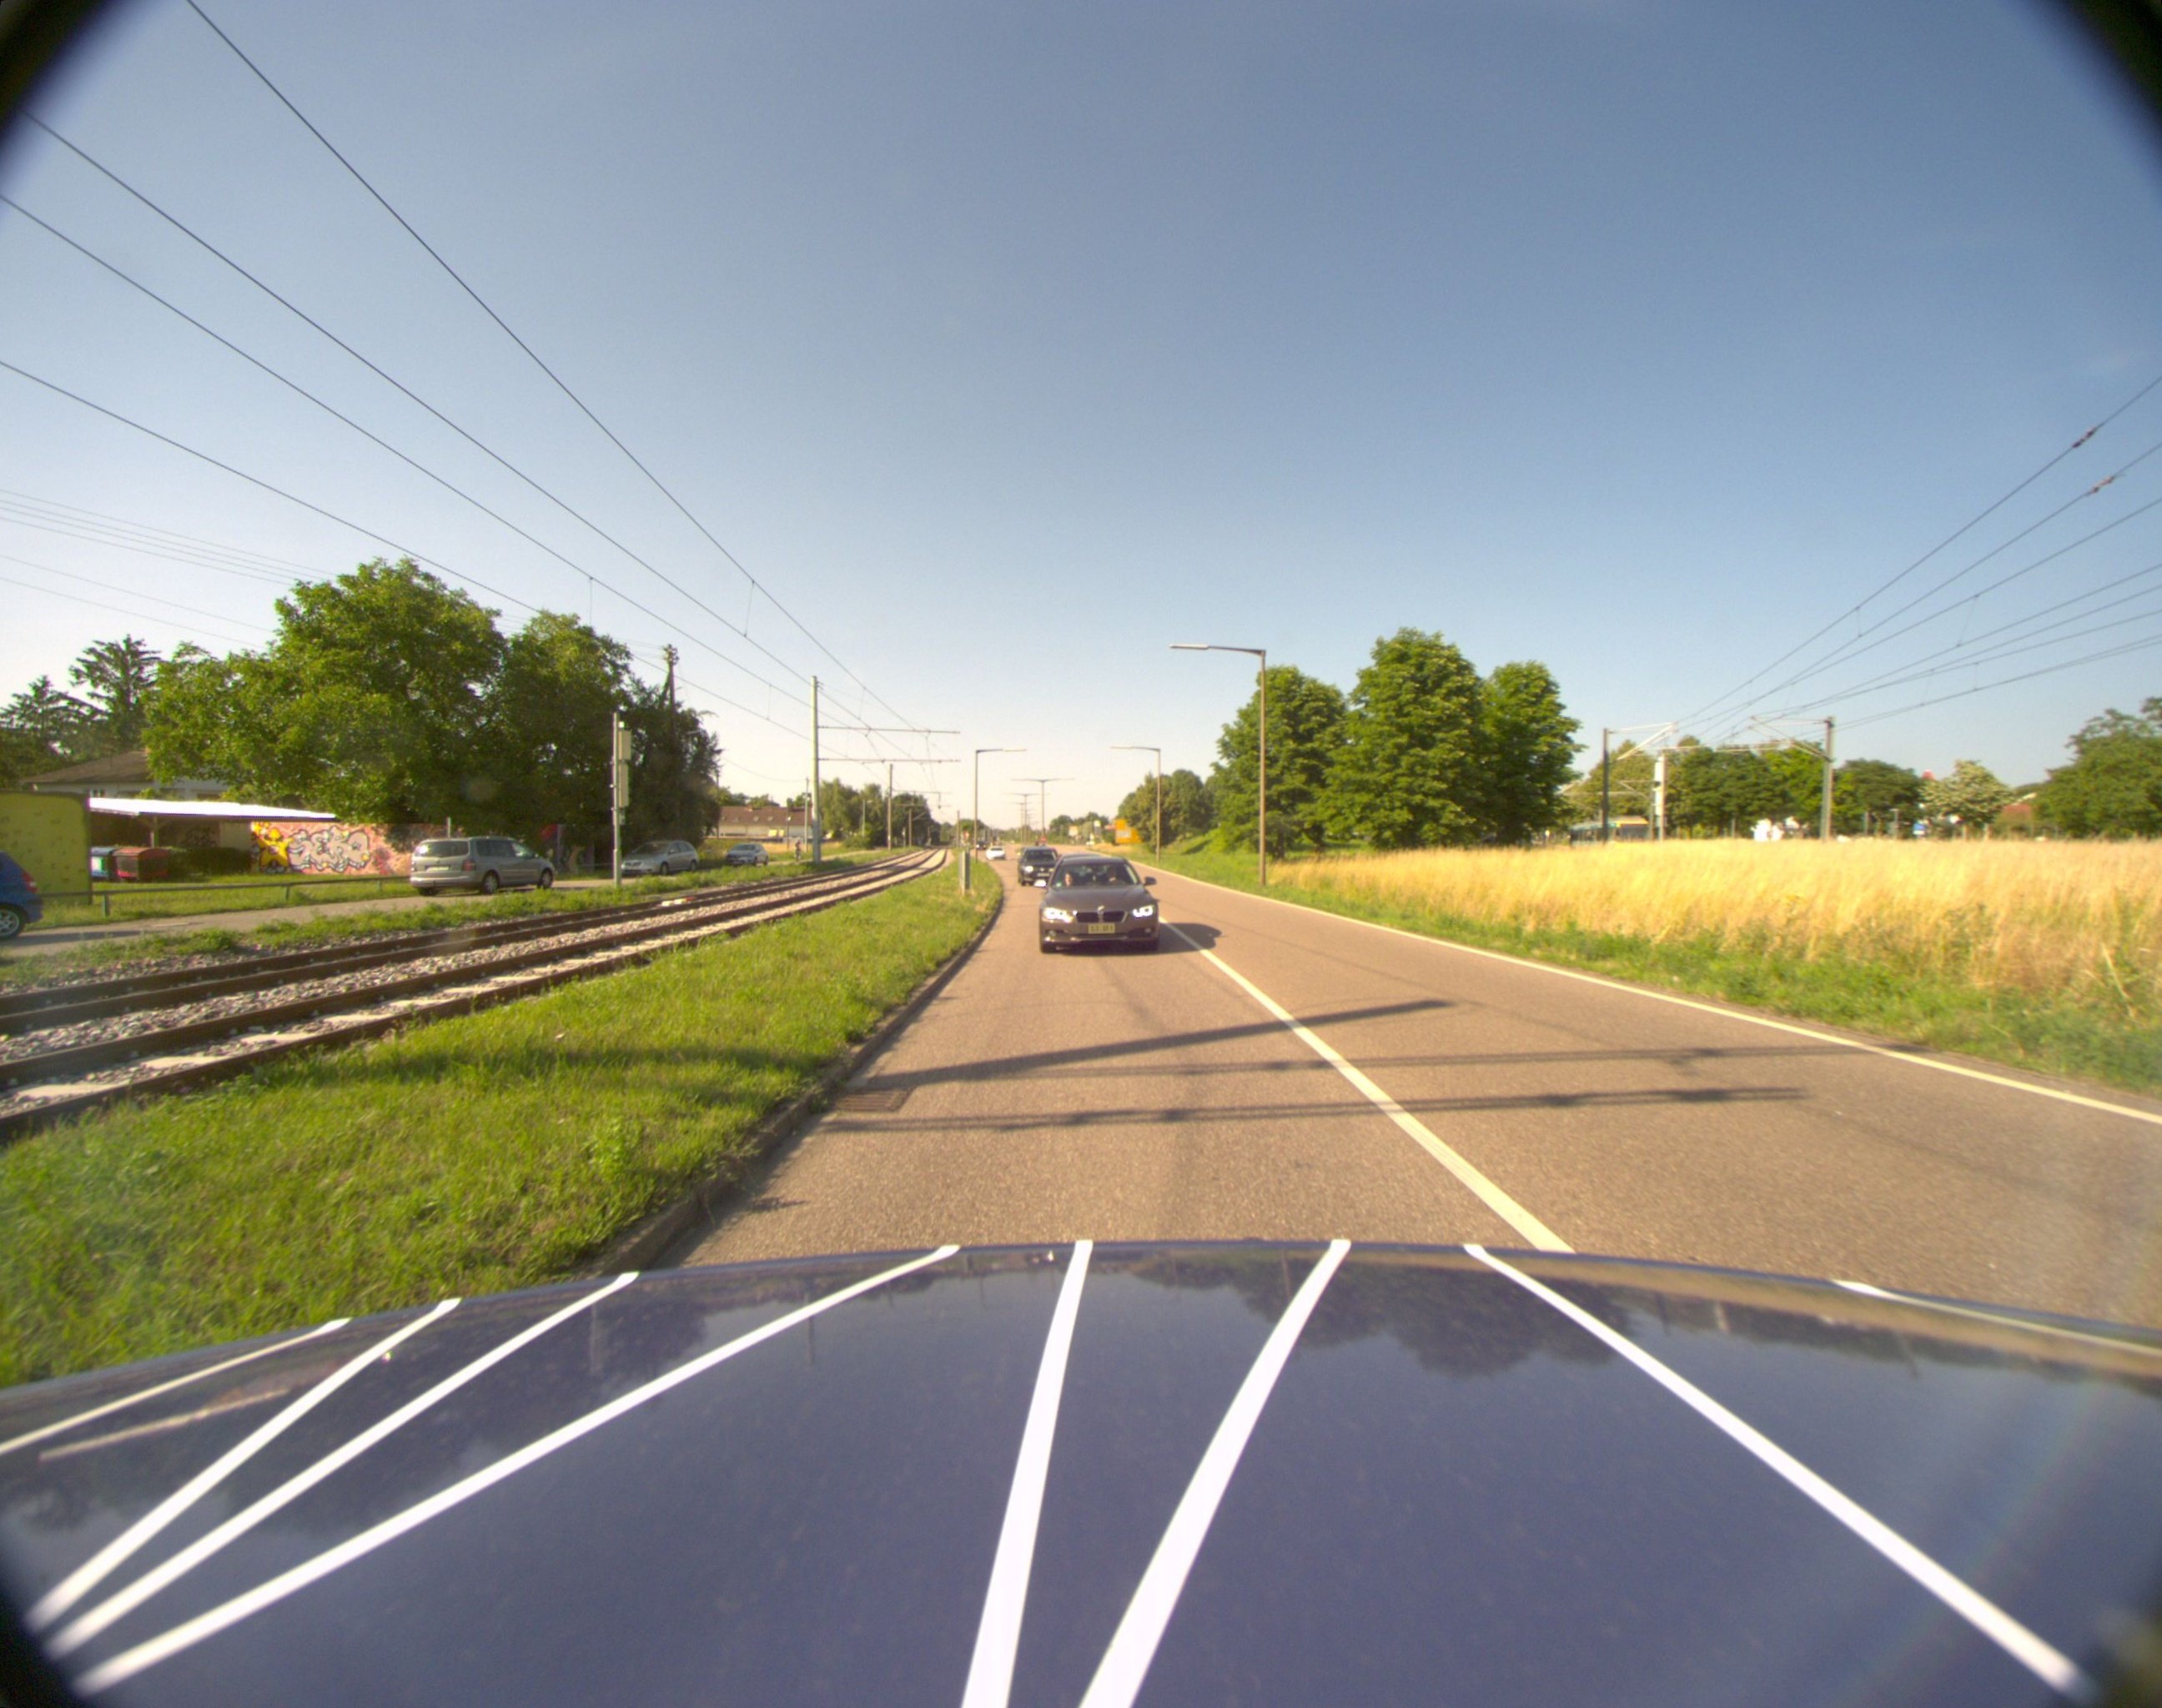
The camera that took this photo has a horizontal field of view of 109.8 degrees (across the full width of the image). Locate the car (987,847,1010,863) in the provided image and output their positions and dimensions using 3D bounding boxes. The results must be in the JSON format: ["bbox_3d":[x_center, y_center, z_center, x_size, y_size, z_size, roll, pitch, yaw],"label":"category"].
[{"bbox_3d":[-8.647,0.090,79.704,1.970,1.609,4.302,-2,1,-12],"label":"car"}]

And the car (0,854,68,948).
[{"bbox_3d":[-17.445,0.770,10.440,1.682,1.422,3.911,-2,1,2],"label":"car"}]

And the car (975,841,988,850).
[{"bbox_3d":[-16.733,-1.444,127.836,1.838,1.504,4.149,-2,1,-10],"label":"car"}]

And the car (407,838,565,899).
[{"bbox_3d":[-17.313,0.352,22.418,1.527,1.601,4.480,0,1,-7],"label":"car"}]

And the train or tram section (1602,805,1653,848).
[{"bbox_3d":[50.505,-2.734,70.504,2.908,3.549,14.282,0,3,32],"label":"train or tram section"}]

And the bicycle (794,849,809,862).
[{"bbox_3d":[-20.830,0.100,56.652,0.645,0.904,1.812,-1,1,-6],"label":"bicycle"}]

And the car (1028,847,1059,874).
[{"bbox_3d":[-2.323,0.334,45.971,1.608,1.504,4.265,-2,1,-6],"label":"car"}]

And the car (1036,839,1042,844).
[{"bbox_3d":[-13.676,-4.139,249.067,1.564,1.369,3.381,-3,3,-11],"label":"car"}]

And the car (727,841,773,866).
[{"bbox_3d":[-20.120,-0.037,46.363,1.539,1.440,4.127,0,1,-9],"label":"car"}]

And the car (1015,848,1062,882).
[{"bbox_3d":[-1.968,0.461,34.049,1.848,1.348,4.151,-2,1,-6],"label":"car"}]

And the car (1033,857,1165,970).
[{"bbox_3d":[0.206,0.815,12.283,1.747,1.444,3.946,-2,0,-1],"label":"car"}]

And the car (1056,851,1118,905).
[{"bbox_3d":[0.163,0.671,23.571,1.711,1.444,4.589,-1,1,0],"label":"car"}]

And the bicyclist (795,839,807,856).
[{"bbox_3d":[-20.845,-0.487,56.575,0.641,1.226,0.790,-1,2,-7],"label":"bicyclist"}]

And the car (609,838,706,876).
[{"bbox_3d":[-18.997,0.110,34.358,1.912,1.581,4.725,0,1,-2],"label":"car"}]
